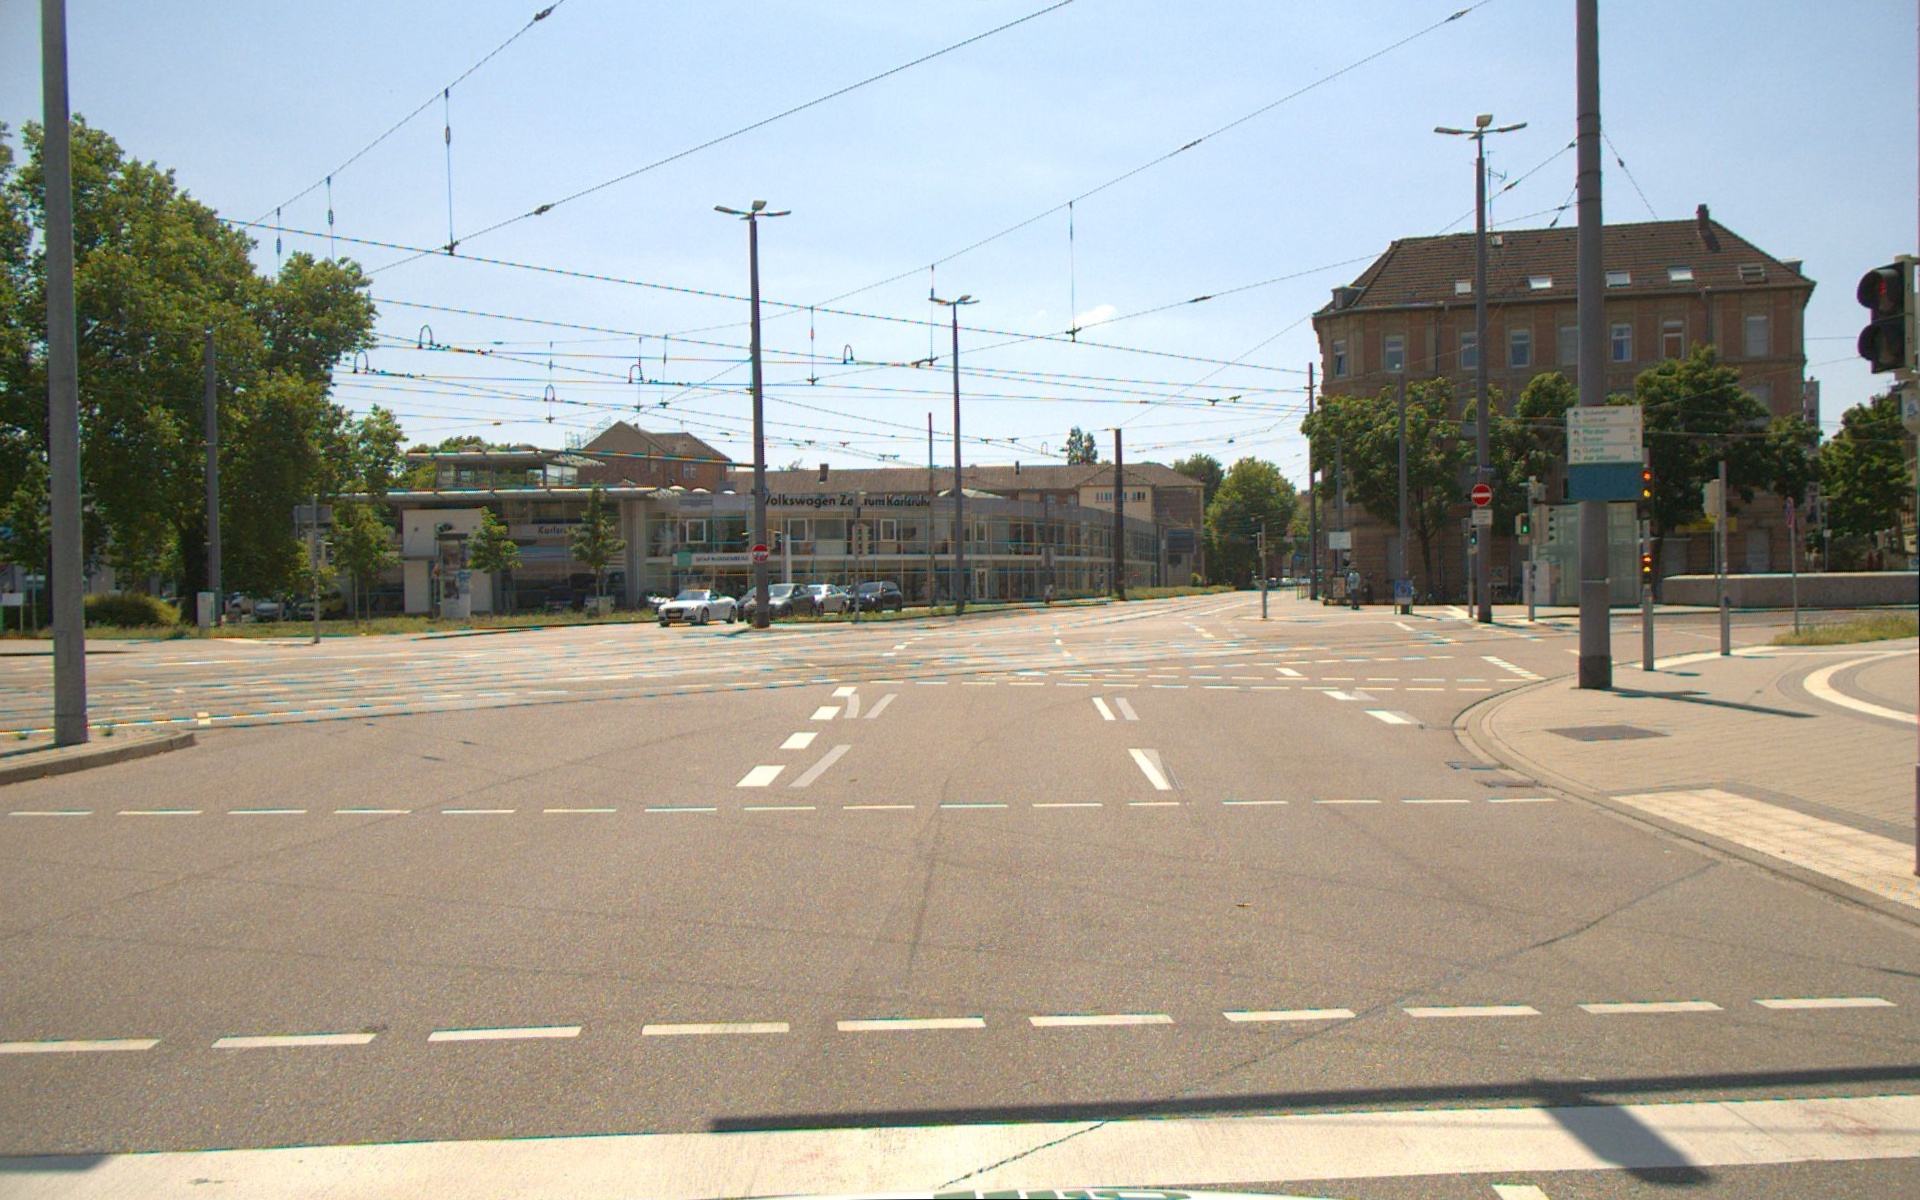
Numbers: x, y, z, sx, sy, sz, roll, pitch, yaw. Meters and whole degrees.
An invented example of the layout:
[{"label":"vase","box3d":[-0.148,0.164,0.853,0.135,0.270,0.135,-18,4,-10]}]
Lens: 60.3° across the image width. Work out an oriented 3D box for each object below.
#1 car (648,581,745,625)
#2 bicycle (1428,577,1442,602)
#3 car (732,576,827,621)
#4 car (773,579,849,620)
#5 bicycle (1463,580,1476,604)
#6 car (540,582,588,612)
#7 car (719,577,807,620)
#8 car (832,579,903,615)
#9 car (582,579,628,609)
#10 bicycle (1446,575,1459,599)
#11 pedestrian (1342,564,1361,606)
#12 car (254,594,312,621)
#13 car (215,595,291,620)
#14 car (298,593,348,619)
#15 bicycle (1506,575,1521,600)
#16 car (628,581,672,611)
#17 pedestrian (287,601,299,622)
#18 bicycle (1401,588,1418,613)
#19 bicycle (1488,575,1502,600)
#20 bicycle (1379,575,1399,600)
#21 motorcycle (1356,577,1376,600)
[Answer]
[{"label":"car","box3d":[-10.150,0.087,64.020,2.032,1.607,4.850,-1,1,13]},{"label":"bicycle","box3d":[22.711,-0.513,79.075,0.539,1.139,1.822,-1,0,14]},{"label":"car","box3d":[-6.970,-0.086,64.380,1.951,1.666,4.850,-1,1,16]},{"label":"car","box3d":[-6.808,-0.042,76.153,1.951,1.770,4.546,-1,1,16]},{"label":"bicycle","box3d":[24.253,-0.383,78.734,0.539,1.139,1.891,-1,1,15]},{"label":"car","box3d":[-23.820,-0.163,99.669,1.881,1.737,4.000,1,0,0]},{"label":"car","box3d":[-8.313,-0.076,70.187,1.951,1.730,4.850,-1,1,16]},{"label":"car","box3d":[-4.595,-0.154,83.002,2.034,1.712,4.850,-1,1,16]},{"label":"car","box3d":[-21.373,-0.321,99.724,1.881,1.737,4.000,1,0,0]},{"label":"bicycle","box3d":[23.490,-0.624,78.857,0.539,1.139,1.822,-1,1,15]},{"label":"pedestrian","box3d":[16.308,-0.625,68.948,0.456,1.738,0.633,-1,0,-31]},{"label":"car","box3d":[-41.362,0.452,101.082,1.731,1.536,4.327,-1,1,0]},{"label":"car","box3d":[-45.515,0.460,106.497,4.279,1.536,1.750,-1,1,-36]},{"label":"car","box3d":[-38.702,0.341,100.582,1.732,1.536,4.322,-1,1,-5]},{"label":"bicycle","box3d":[26.527,-0.602,79.237,0.539,1.139,1.931,-1,1,15]},{"label":"car","box3d":[-18.700,-0.207,100.050,1.881,1.737,4.000,1,0,0]},{"label":"pedestrian","box3d":[-39.259,0.700,97.311,0.502,1.225,0.446,-1,0,5]},{"label":"bicycle","box3d":[21.645,0.026,79.612,0.433,1.166,2.095,1,0,6]},{"label":"bicycle","box3d":[25.579,-0.600,79.130,0.539,1.139,1.872,-1,1,15]},{"label":"bicycle","box3d":[20.547,-0.600,79.229,0.539,1.139,1.821,-1,0,4]},{"label":"motorcycle","box3d":[19.489,-0.561,79.386,0.568,1.093,1.947,-1,0,3]}]
